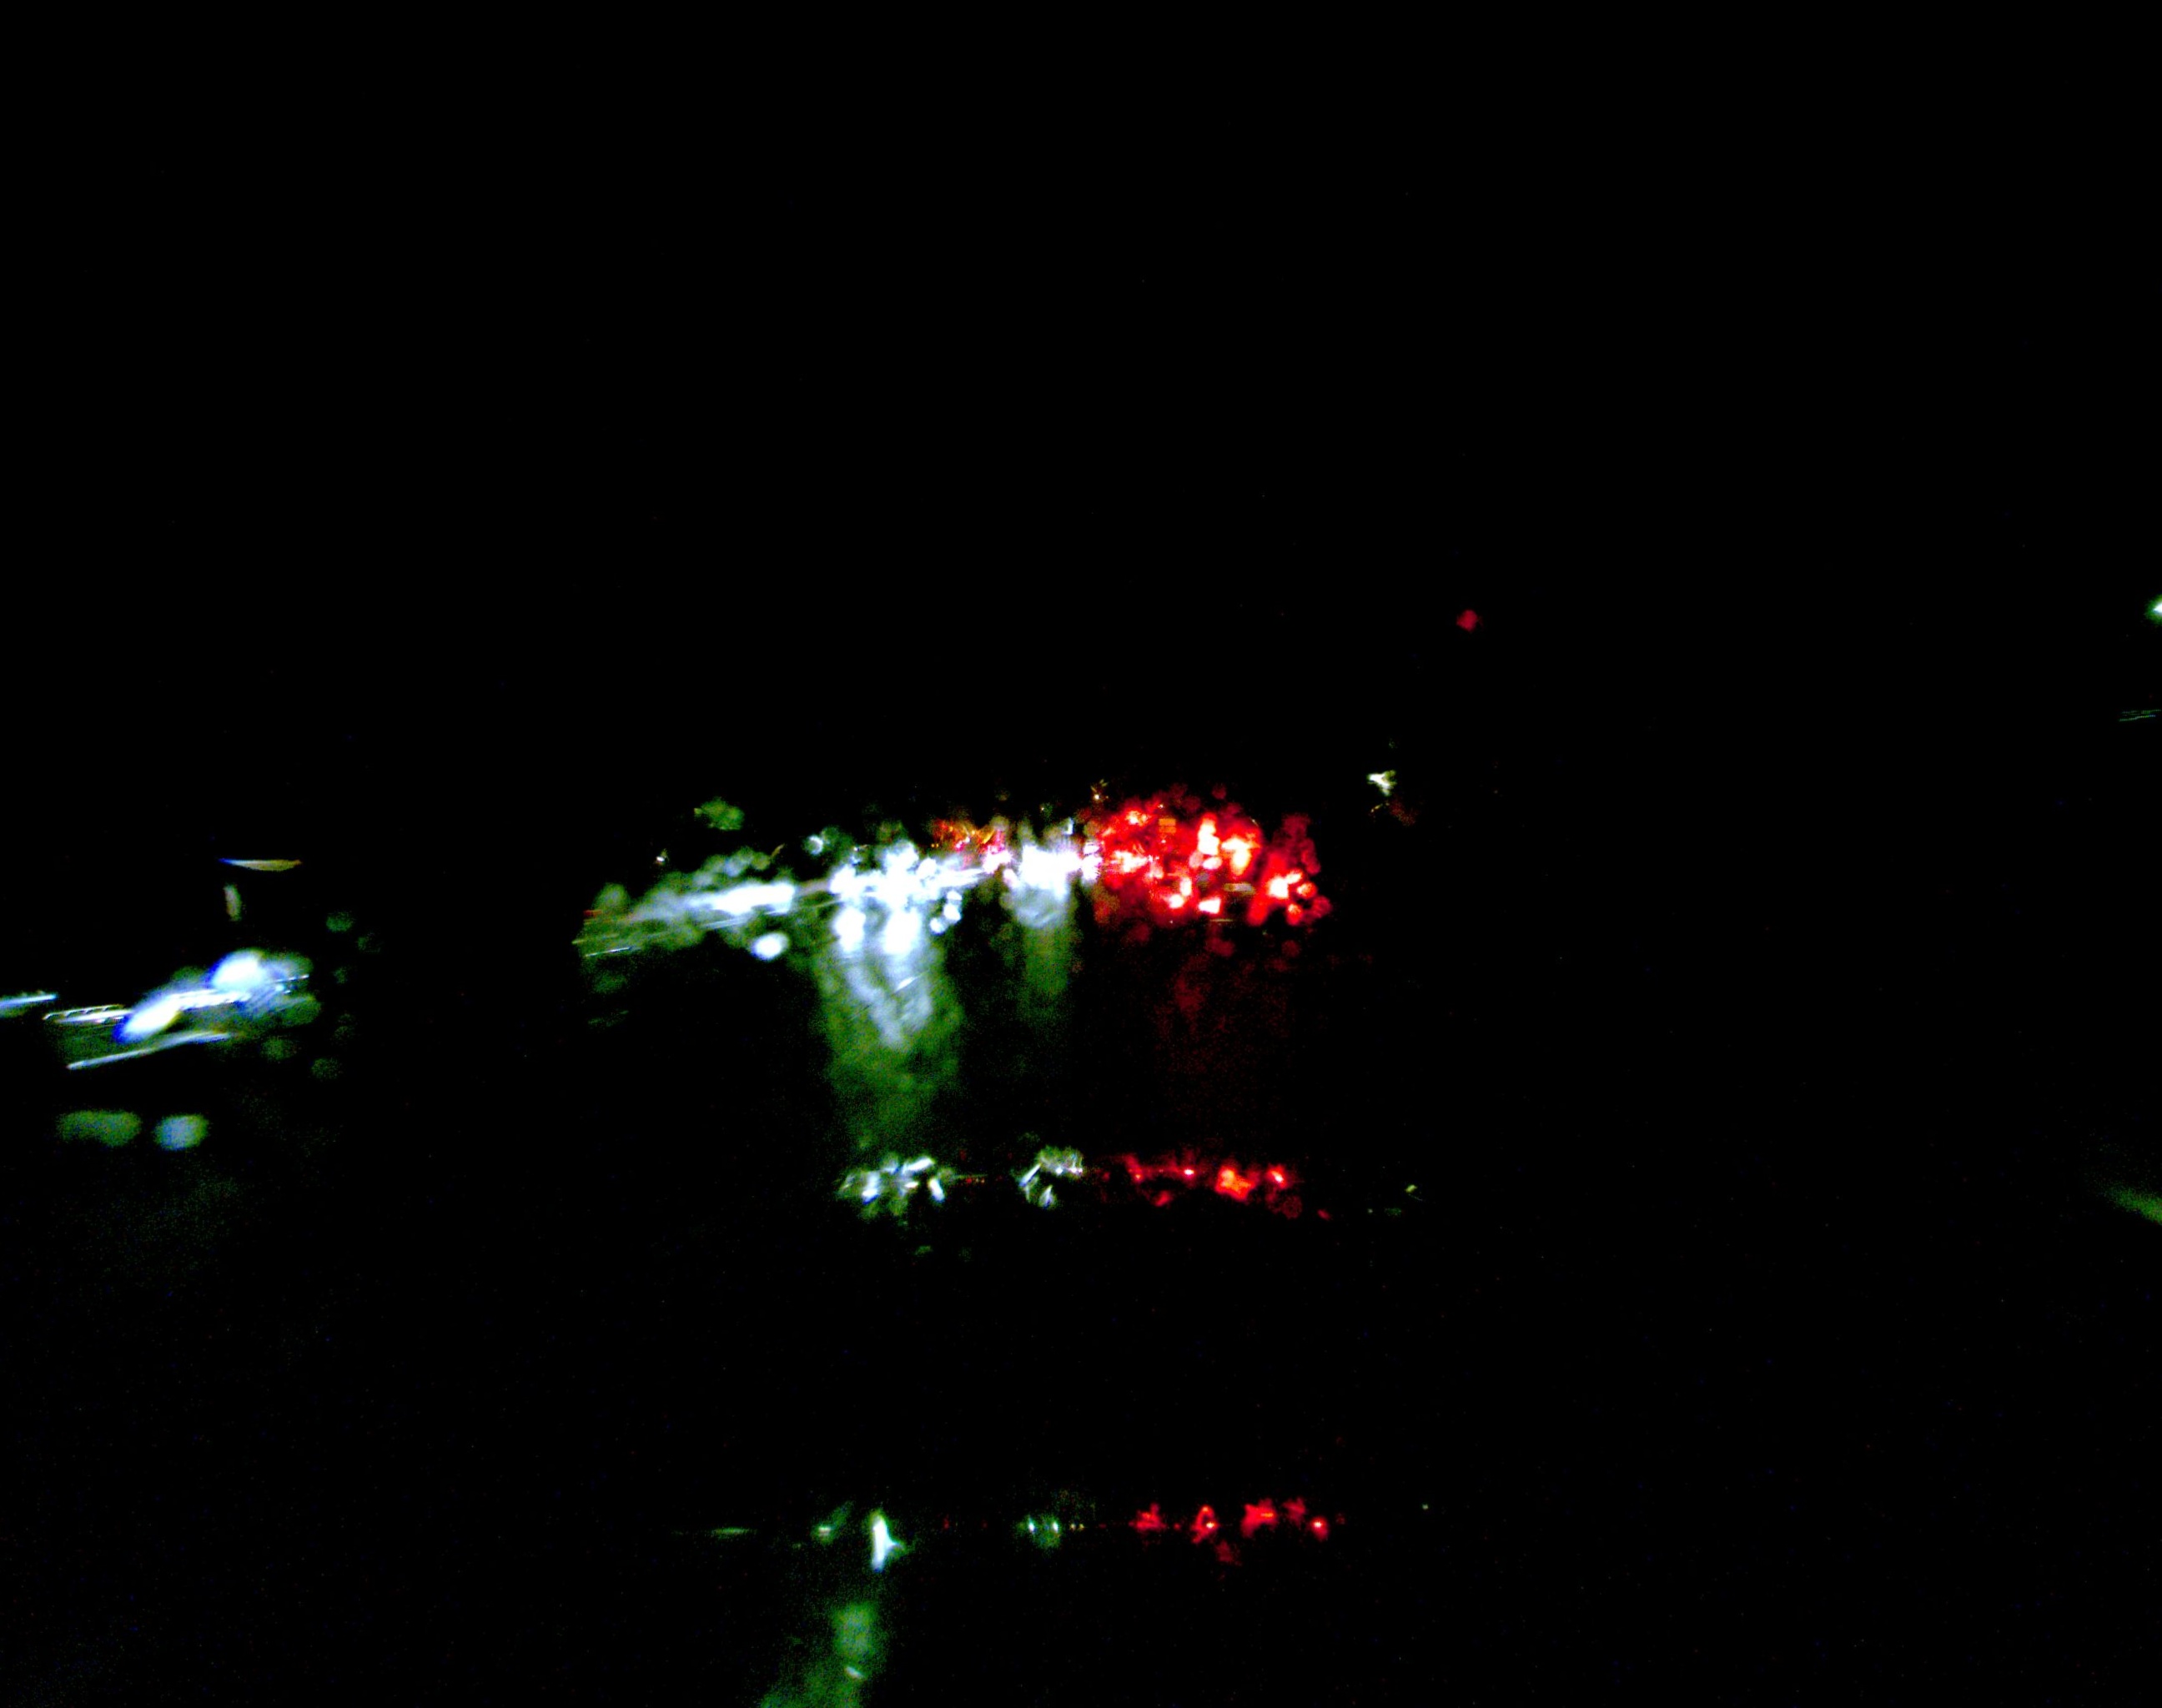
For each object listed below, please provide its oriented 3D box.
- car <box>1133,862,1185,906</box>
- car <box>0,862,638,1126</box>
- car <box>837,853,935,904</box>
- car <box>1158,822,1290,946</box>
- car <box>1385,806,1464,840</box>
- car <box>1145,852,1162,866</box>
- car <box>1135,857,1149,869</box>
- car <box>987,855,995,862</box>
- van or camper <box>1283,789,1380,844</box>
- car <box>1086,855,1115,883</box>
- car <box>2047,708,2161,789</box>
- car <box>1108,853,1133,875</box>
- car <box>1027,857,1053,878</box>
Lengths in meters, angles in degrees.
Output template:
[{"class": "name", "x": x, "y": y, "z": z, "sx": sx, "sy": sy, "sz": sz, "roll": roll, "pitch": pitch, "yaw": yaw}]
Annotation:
[{"class": "car", "x": 2.854, "y": 1.034, "z": 29.691, "sx": 1.759, "sy": 1.450, "sz": 4.225, "roll": 0, "pitch": 0, "yaw": 5}, {"class": "car", "x": -6.316, "y": 0.824, "z": 7.140, "sx": 2.070, "sy": 1.449, "sz": 4.992, "roll": 0, "pitch": 0, "yaw": 1}, {"class": "car", "x": -5.940, "y": 0.702, "z": 25.388, "sx": 1.911, "sy": 1.444, "sz": 4.546, "roll": 0, "pitch": 0, "yaw": 0}, {"class": "car", "x": 2.479, "y": 0.477, "z": 15.103, "sx": 1.934, "sy": 1.972, "sz": 4.222, "roll": 0, "pitch": 0, "yaw": 3}, {"class": "car", "x": 17.532, "y": -1.544, "z": 41.748, "sx": 1.637, "sy": 1.618, "sz": 4.116, "roll": 0, "pitch": 0, "yaw": -13}, {"class": "car", "x": 7.766, "y": 0.549, "z": 87.157, "sx": 1.654, "sy": 1.450, "sz": 4.058, "roll": -1, "pitch": -1, "yaw": 7}, {"class": "car", "x": 7.542, "y": 1.122, "z": 100.936, "sx": 1.655, "sy": 1.450, "sz": 4.055, "roll": 0, "pitch": -1, "yaw": 5}, {"class": "car", "x": -24.240, "y": 1.271, "z": 218.818, "sx": 1.991, "sy": 1.912, "sz": 4.733, "roll": 0, "pitch": 0, "yaw": -6}, {"class": "van or camper", "x": 14.701, "y": -2.137, "z": 48.293, "sx": 2.584, "sy": 2.908, "sz": 6.327, "roll": -1, "pitch": 0, "yaw": -14}, {"class": "car", "x": 1.217, "y": 0.915, "z": 49.639, "sx": 1.688, "sy": 1.630, "sz": 3.854, "roll": 0, "pitch": -1, "yaw": 2}, {"class": "car", "x": 22.738, "y": -2.235, "z": 16.381, "sx": 1.614, "sy": 1.472, "sz": 3.984, "roll": 0, "pitch": -1, "yaw": -12}, {"class": "car", "x": 3.133, "y": 0.778, "z": 63.653, "sx": 1.700, "sy": 1.638, "sz": 3.736, "roll": -2, "pitch": 0, "yaw": 6}, {"class": "car", "x": -2.938, "y": 0.945, "z": 59.219, "sx": 1.689, "sy": 1.434, "sz": 4.292, "roll": 0, "pitch": 0, "yaw": 0}]
